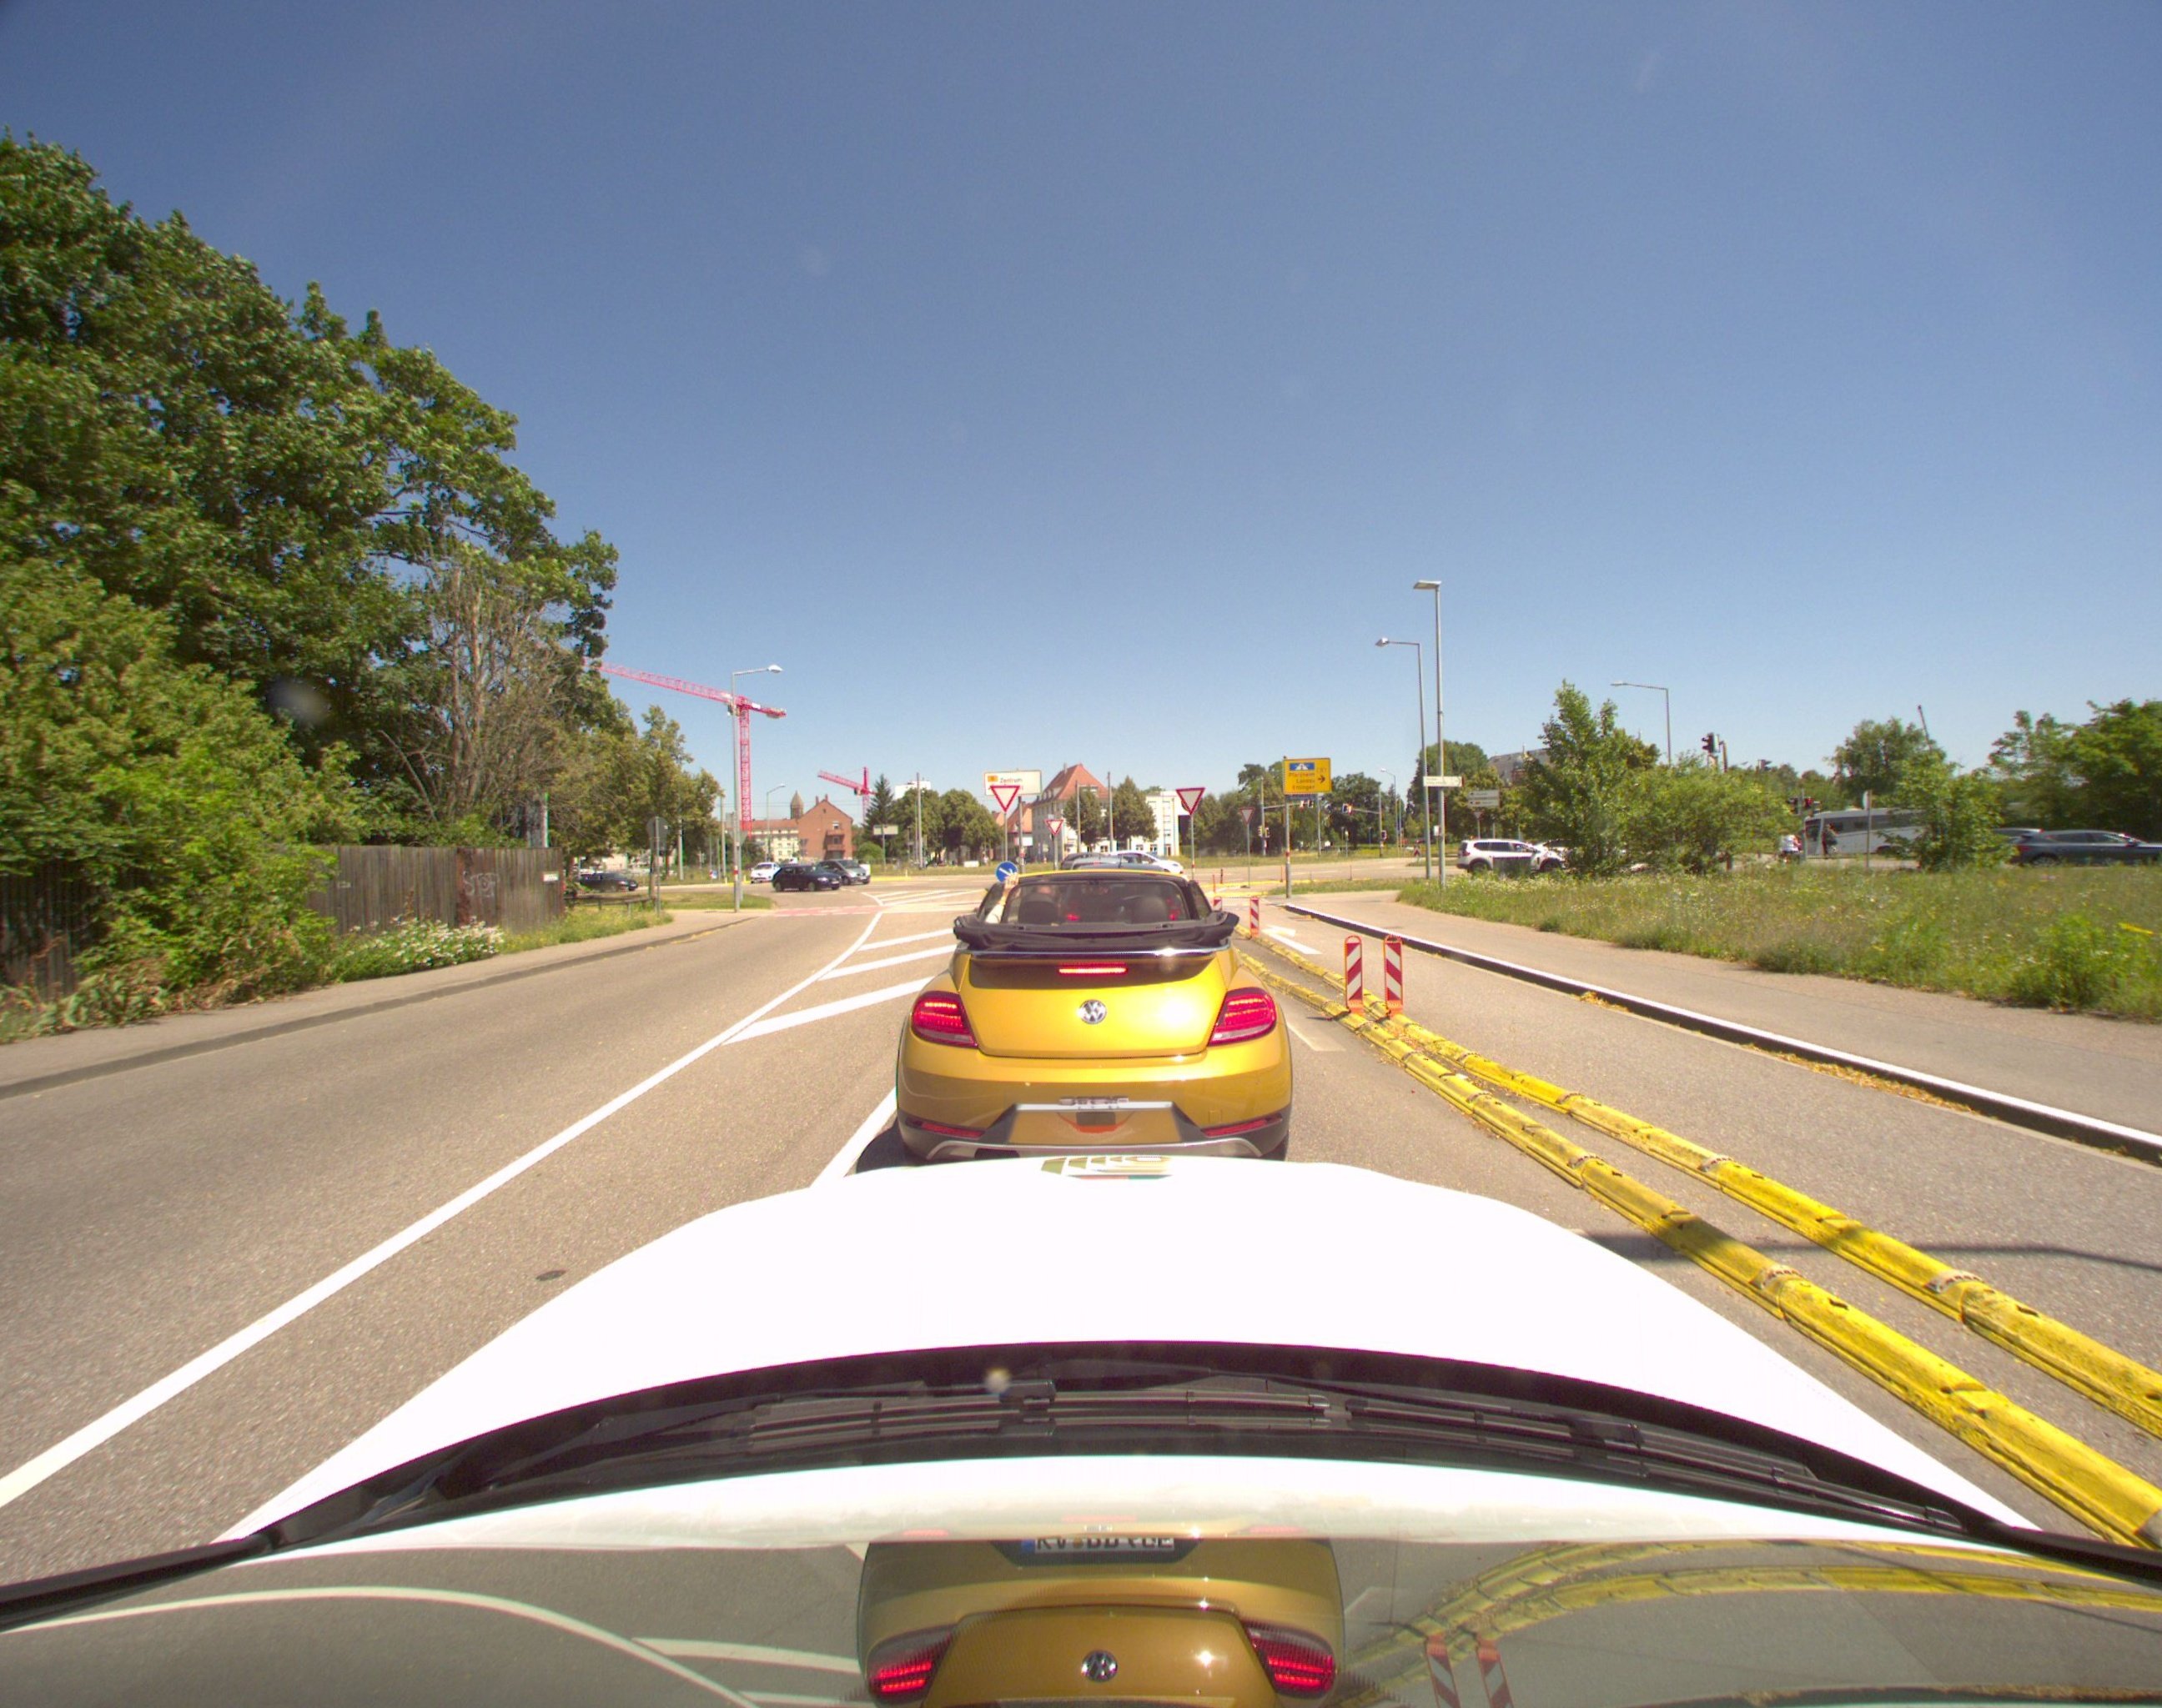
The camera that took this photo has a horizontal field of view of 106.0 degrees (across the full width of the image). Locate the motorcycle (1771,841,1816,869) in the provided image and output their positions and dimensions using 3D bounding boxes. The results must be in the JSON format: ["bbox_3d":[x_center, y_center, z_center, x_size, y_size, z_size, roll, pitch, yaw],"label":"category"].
[{"bbox_3d":[25.804,0.032,29.482,1.712,0.970,0.625,-1,0,-28],"label":"motorcycle"}]

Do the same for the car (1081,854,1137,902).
[{"bbox_3d":[0.940,0.757,27.584,1.730,1.477,4.002,-1,0,2],"label":"car"}]

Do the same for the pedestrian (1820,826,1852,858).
[{"bbox_3d":[37.746,-0.613,40.714,0.789,1.563,0.823,-1,0,3],"label":"pedestrian"}]

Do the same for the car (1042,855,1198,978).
[{"bbox_3d":[0.538,0.758,11.767,1.841,1.442,4.002,-1,0,2],"label":"car"}]

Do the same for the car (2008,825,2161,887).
[{"bbox_3d":[35.314,0.073,28.138,3.948,2.014,2.013,-1,0,37],"label":"car"}]

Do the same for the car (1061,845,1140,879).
[{"bbox_3d":[1.079,0.455,44.337,3.961,1.496,1.652,-5,-1,11],"label":"car"}]

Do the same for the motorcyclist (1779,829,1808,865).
[{"bbox_3d":[25.824,-0.256,29.529,0.616,1.289,0.576,-1,-1,-27],"label":"motorcyclist"}]

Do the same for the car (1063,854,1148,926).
[{"bbox_3d":[0.580,0.749,18.784,1.730,1.442,4.002,-1,0,2],"label":"car"}]

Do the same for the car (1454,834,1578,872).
[{"bbox_3d":[19.284,-0.035,36.343,4.540,1.566,2.008,-1,0,16],"label":"car"}]

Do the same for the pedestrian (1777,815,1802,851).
[{"bbox_3d":[36.742,-1.074,42.240,0.647,1.870,0.737,-1,0,3],"label":"pedestrian"}]

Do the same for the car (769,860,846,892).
[{"bbox_3d":[-14.838,1.183,44.177,3.961,1.620,1.748,-1,0,30],"label":"car"}]

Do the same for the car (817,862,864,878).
[{"bbox_3d":[-23.347,1.560,79.116,1.690,1.500,4.247,-1,0,34],"label":"car"}]

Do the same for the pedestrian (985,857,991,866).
[{"bbox_3d":[-13.174,1.009,115.113,0.678,1.230,0.495,-1,-1,-21],"label":"pedestrian"}]

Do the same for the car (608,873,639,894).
[{"bbox_3d":[-34.447,2.199,61.233,1.829,1.447,4.487,-1,0,-32],"label":"car"}]

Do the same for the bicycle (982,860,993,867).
[{"bbox_3d":[-13.210,1.339,115.093,1.471,1.071,0.495,-1,0,-21],"label":"bicycle"}]

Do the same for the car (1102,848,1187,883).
[{"bbox_3d":[3.139,0.567,39.962,3.973,1.620,1.686,-1,0,11],"label":"car"}]

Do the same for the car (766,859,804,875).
[{"bbox_3d":[-25.141,1.071,69.327,1.700,1.236,3.788,-1,0,2],"label":"car"}]

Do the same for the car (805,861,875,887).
[{"bbox_3d":[-14.596,1.183,49.217,3.949,1.496,1.812,-1,0,30],"label":"car"}]

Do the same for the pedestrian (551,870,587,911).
[{"bbox_3d":[-19.967,1.402,31.762,0.866,1.563,0.815,-1,-1,24],"label":"pedestrian"}]

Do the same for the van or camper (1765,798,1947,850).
[{"bbox_3d":[45.271,-1.670,47.800,2.525,2.693,7.427,-1,0,-38],"label":"van or camper"}]

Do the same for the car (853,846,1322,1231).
[{"bbox_3d":[0.076,0.704,4.962,1.746,1.422,3.779,-1,0,1],"label":"car"}]

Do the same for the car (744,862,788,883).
[{"bbox_3d":[-24.616,1.423,63.826,1.749,1.549,4.002,-1,0,2],"label":"car"}]

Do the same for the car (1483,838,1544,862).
[{"bbox_3d":[34.088,-0.284,64.282,2.000,1.838,3.973,-1,0,-20],"label":"car"}]

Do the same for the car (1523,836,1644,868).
[{"bbox_3d":[26.010,-0.085,42.345,4.962,1.509,2.005,-1,0,8],"label":"car"}]
